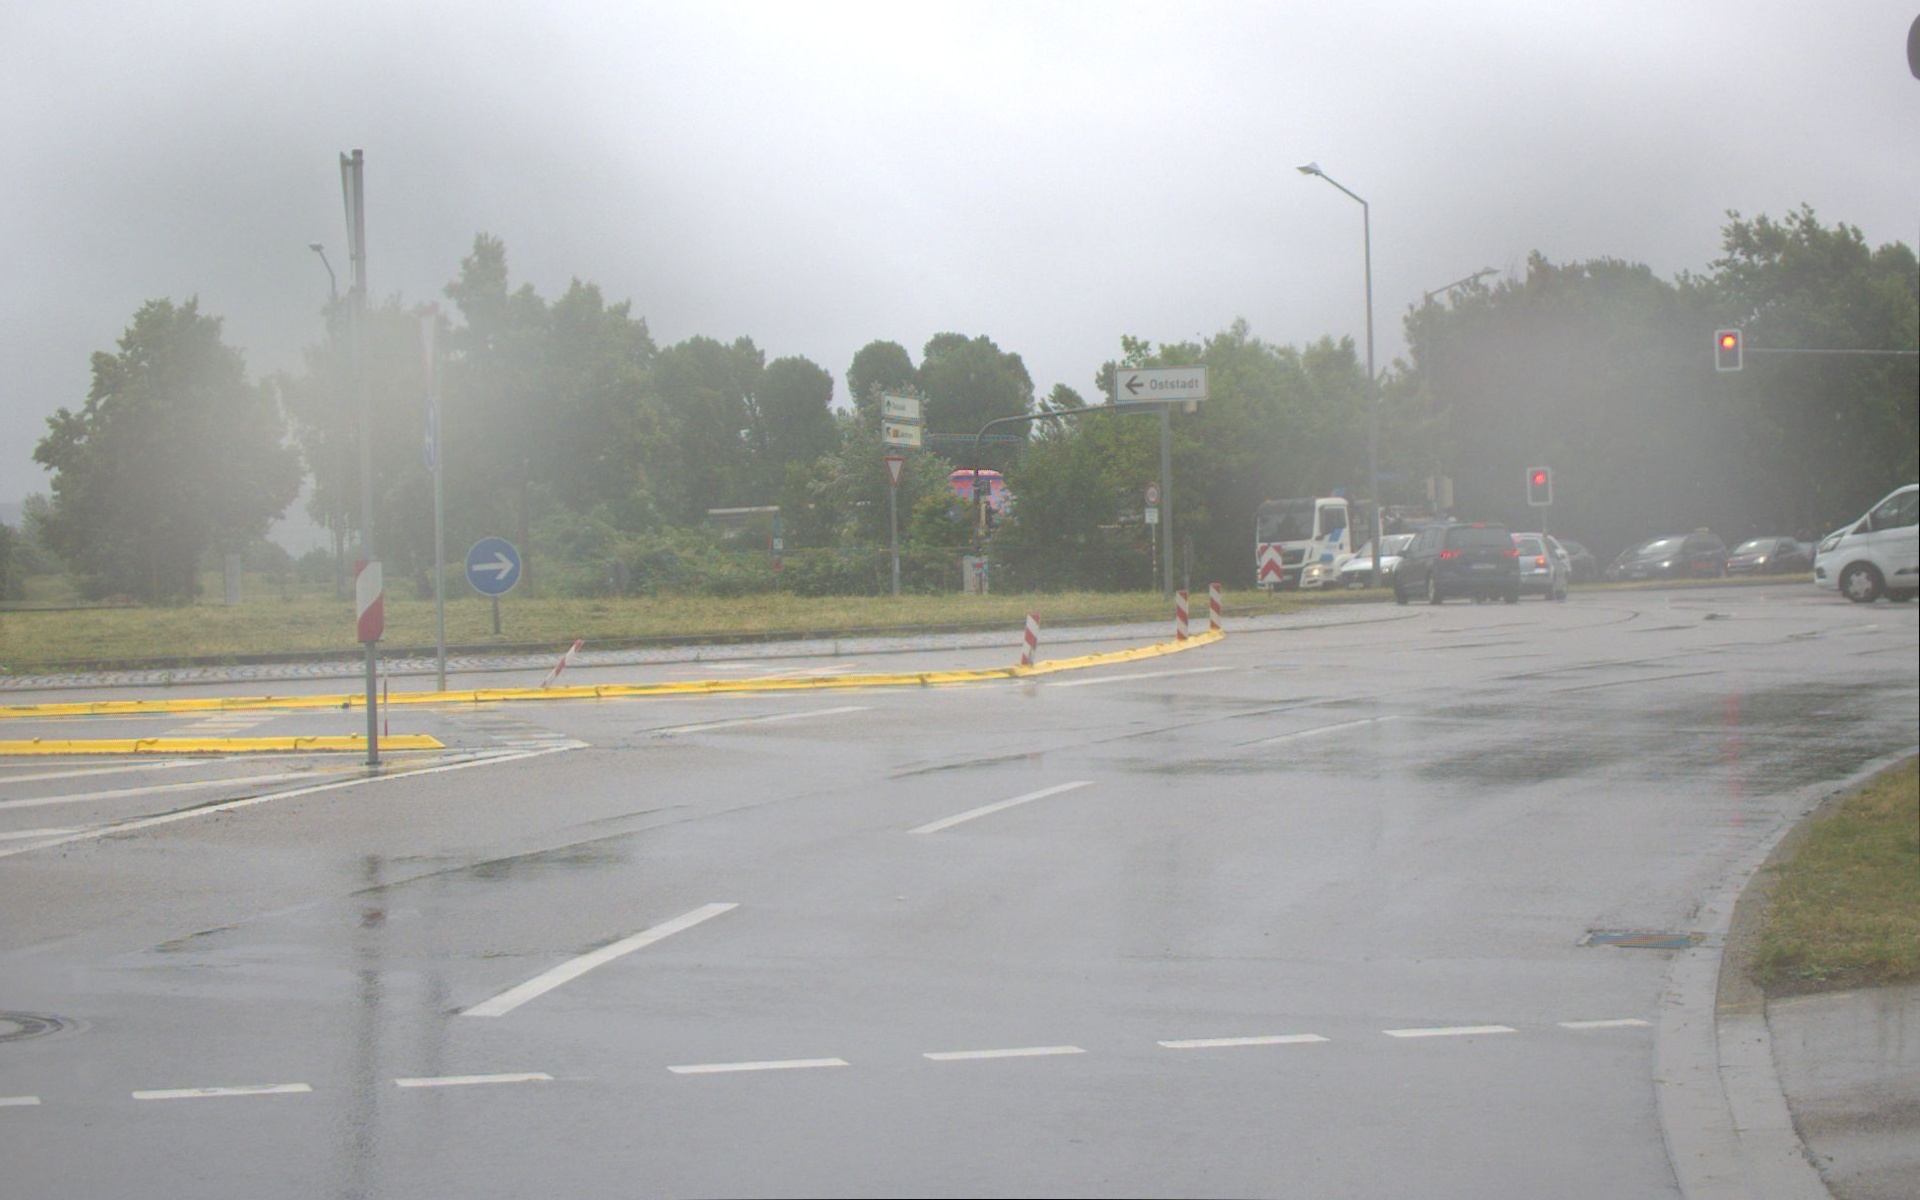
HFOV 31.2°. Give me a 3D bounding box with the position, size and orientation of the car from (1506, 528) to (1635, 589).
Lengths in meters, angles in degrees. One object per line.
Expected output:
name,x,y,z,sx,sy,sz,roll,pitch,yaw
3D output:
car,17.433,-1.170,98.055,1.800,1.656,3.990,1,0,41

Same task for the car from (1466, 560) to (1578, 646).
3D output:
car,12.640,0.062,77.153,1.995,1.845,4.772,1,0,15

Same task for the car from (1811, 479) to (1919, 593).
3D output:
car,16.534,-1.022,56.070,4.768,1.845,1.996,1,0,31

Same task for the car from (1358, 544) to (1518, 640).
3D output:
car,9.675,-0.164,69.989,1.993,1.845,4.777,1,0,-8

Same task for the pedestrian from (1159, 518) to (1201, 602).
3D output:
pedestrian,3.477,-0.633,54.354,0.453,1.300,0.485,-1,1,38

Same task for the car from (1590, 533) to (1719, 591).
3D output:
car,20.661,-1.122,102.170,1.800,1.656,4.399,1,0,41

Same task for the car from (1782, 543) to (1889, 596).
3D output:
car,28.857,-0.999,113.255,1.800,1.656,3.990,1,0,41

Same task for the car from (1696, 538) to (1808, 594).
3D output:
car,24.788,-1.060,107.516,1.800,1.656,3.991,1,0,40

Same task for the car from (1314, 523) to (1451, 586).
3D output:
car,11.847,-1.258,96.243,1.800,1.656,4.124,1,0,41

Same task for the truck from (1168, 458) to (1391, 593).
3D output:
truck,6.993,-1.543,74.104,2.464,2.677,8.049,1,0,23
